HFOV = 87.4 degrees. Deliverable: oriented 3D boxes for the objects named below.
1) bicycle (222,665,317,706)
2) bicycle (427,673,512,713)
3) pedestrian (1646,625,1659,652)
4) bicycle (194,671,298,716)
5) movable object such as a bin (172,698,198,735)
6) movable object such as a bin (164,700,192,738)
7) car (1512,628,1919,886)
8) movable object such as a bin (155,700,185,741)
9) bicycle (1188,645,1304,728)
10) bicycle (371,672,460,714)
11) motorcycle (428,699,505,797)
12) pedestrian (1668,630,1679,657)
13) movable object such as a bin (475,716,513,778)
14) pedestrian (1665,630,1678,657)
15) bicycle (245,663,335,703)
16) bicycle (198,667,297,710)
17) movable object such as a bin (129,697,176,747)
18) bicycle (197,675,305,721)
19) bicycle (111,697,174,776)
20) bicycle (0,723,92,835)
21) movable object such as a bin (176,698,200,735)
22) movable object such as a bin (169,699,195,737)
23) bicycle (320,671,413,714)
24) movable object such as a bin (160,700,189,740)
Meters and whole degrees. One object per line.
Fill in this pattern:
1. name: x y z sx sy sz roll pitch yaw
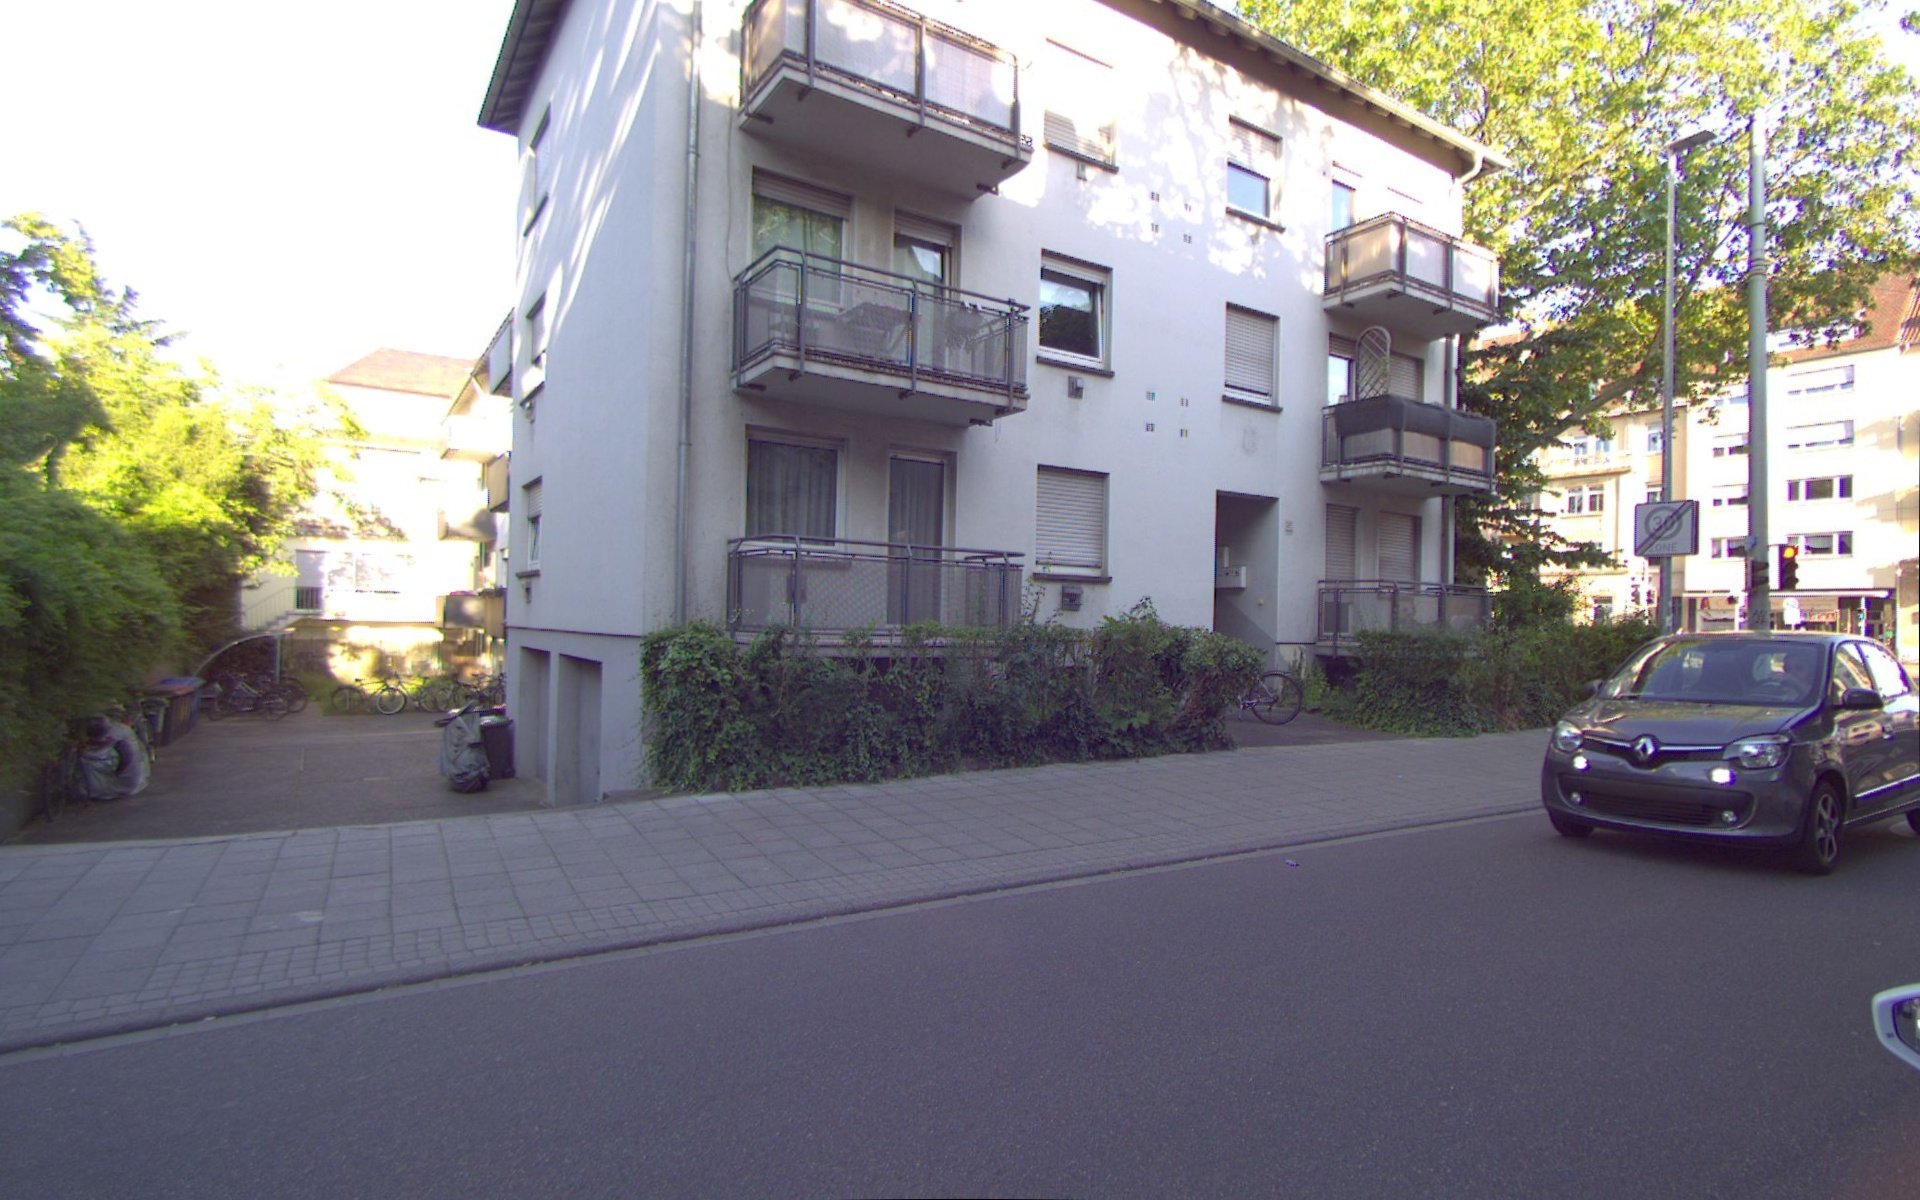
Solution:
1. bicycle: -19.004 2.357 27.695 2.045 1.034 0.611 4 0 -30
2. bicycle: -13.600 2.585 27.869 2.045 1.034 0.637 4 0 -30
3. pedestrian: 40.359 2.252 58.510 0.558 1.531 0.499 0 -1 41
4. bicycle: -18.037 2.375 25.431 2.045 1.034 0.568 4 0 -30
5. movable object such as a bin: -16.412 2.461 21.288 0.362 0.768 0.361 2 -4 -30
6. movable object such as a bin: -16.032 2.435 20.598 0.371 0.768 0.361 2 -4 -30
7. car: 5.954 1.005 7.591 3.553 1.521 1.607 2 -3 -32
8. movable object such as a bin: -15.640 2.383 19.896 0.393 0.784 0.361 2 -4 -30
9. bicycle: 3.873 1.151 13.616 1.433 0.988 0.407 3 0 21
10. bicycle: -14.731 2.516 27.207 2.045 1.034 0.637 4 0 -30
11. motorcycle: -7.401 2.169 15.031 0.751 1.268 1.577 1 -2 -36
12. pedestrian: 41.434 2.529 58.324 0.467 1.531 0.429 0 -1 41
13. movable object such as a bin: -7.510 2.358 16.185 0.428 0.899 0.720 1 -2 -34
14. pedestrian: 41.756 2.543 58.946 0.531 1.531 0.505 1 -1 -34
15. bicycle: -19.028 2.361 28.567 2.045 1.034 0.564 4 0 -30
16. bicycle: -18.870 2.356 26.658 2.045 1.034 0.611 4 0 -30
17. movable object such as a bin: -14.960 2.250 18.624 0.570 0.891 0.491 2 -4 -30
18. bicycle: -17.285 2.394 24.553 2.045 1.034 0.637 4 0 -30
19. bicycle: -13.231 2.179 16.296 0.509 1.033 1.922 3 -1 -32
20. bicycle: -11.002 2.105 12.073 0.509 1.033 1.922 3 -1 -32
21. movable object such as a bin: -16.616 2.498 21.629 0.342 0.768 0.361 2 -4 -30
22. movable object such as a bin: -16.219 2.449 20.947 0.362 0.768 0.361 2 -4 -30
23. bicycle: -15.702 2.452 26.616 2.045 1.034 0.637 4 0 -30
24. movable object such as a bin: -15.834 2.411 20.256 0.377 0.784 0.361 2 -4 -30
